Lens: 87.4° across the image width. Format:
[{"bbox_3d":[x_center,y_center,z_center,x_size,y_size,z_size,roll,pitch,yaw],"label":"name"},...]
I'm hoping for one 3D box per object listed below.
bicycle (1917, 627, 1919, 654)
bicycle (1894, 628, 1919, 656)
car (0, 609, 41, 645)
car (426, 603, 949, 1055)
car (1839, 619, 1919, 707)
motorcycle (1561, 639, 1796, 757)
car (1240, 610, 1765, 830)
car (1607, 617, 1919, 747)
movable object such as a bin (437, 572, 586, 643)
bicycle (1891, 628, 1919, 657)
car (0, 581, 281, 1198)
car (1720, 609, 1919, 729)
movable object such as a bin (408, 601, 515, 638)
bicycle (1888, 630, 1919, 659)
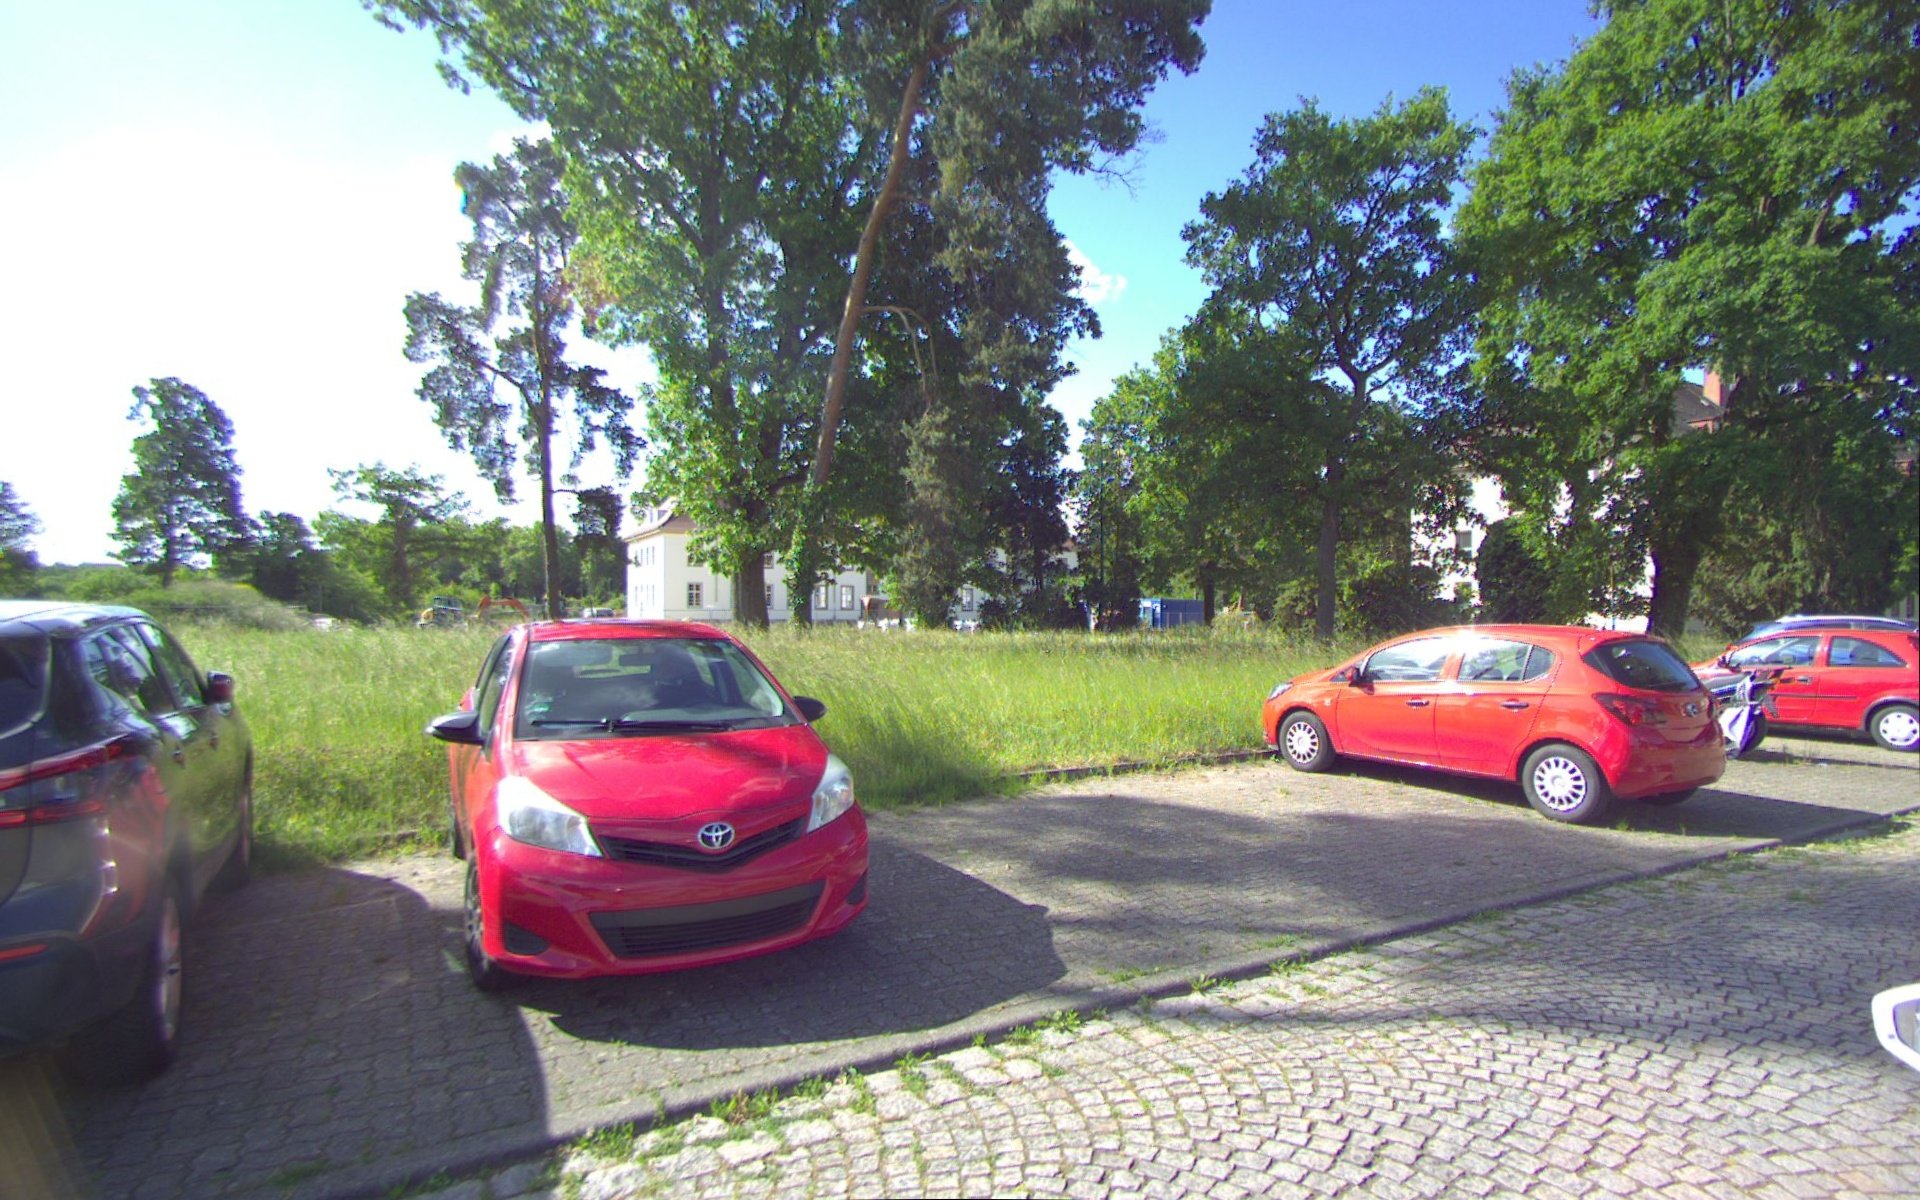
[{"bbox_3d":[41.113,1.710,41.770,1.891,1.118,0.567,0,1,42],"label":"bicycle"},{"bbox_3d":[39.077,1.715,40.584,1.886,1.118,0.569,0,1,33],"label":"bicycle"},{"bbox_3d":[-45.177,1.256,47.204,1.889,1.626,4.212,1,-1,-28],"label":"car"},{"bbox_3d":[-1.834,0.794,5.599,1.845,1.468,3.903,0,1,-31],"label":"car"},{"bbox_3d":[17.592,1.097,16.521,1.896,1.464,4.344,0,0,-26],"label":"car"},{"bbox_3d":[8.363,1.087,11.834,0.570,1.177,2.233,1,0,-28],"label":"motorcycle"},{"bbox_3d":[4.701,0.876,9.285,1.821,1.480,3.903,0,1,-31],"label":"car"},{"bbox_3d":[11.254,0.988,13.533,1.819,1.452,3.907,0,0,-28],"label":"car"},{"bbox_3d":[-25.520,0.470,57.449,3.867,3.780,6.767,0,-1,36],"label":"movable object such as a bin"},{"bbox_3d":[37.497,1.650,39.038,1.888,1.117,0.568,-1,0,37],"label":"bicycle"},{"bbox_3d":[-4.020,0.729,3.977,1.951,1.589,3.933,0,1,-31],"label":"car"},{"bbox_3d":[13.578,0.945,14.223,1.862,1.600,4.116,0,0,-29],"label":"car"},{"bbox_3d":[-30.114,1.164,60.754,5.565,2.153,2.529,0,-1,16],"label":"movable object such as a bin"},{"bbox_3d":[37.817,1.745,39.474,1.888,1.117,0.568,-1,0,37],"label":"bicycle"}]
